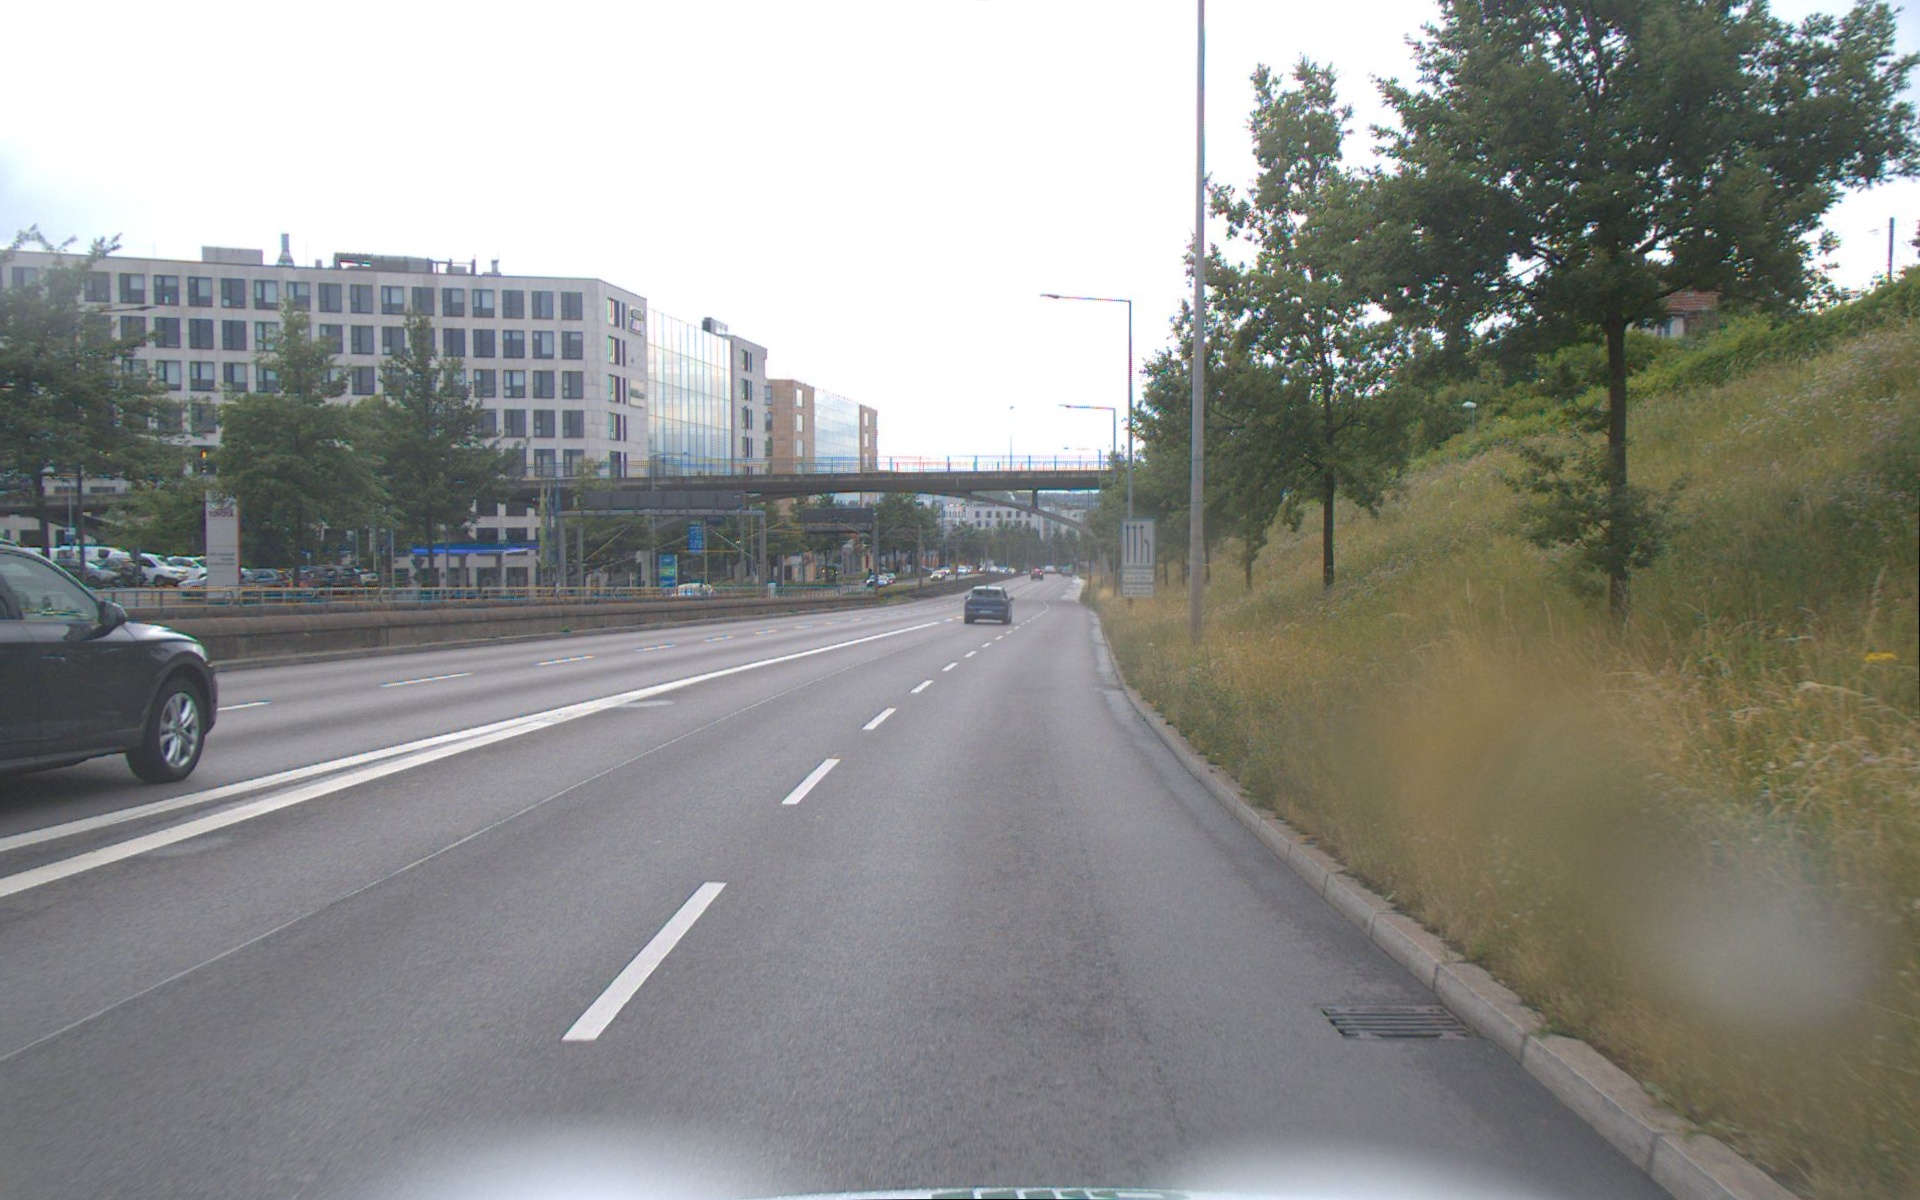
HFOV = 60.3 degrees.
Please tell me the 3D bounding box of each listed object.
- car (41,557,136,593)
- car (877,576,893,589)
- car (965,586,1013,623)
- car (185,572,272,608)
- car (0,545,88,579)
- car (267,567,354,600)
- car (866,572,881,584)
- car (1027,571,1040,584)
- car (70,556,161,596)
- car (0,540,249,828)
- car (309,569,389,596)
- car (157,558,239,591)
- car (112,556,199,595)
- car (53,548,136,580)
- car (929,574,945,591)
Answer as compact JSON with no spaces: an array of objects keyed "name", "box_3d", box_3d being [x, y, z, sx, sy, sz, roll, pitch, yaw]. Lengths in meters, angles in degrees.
[{"name":"car","box_3d":[-45.606,-1.330,86.593,3.904,1.679,2.001,2,3,2]},{"name":"car","box_3d":[-8.659,-2.029,191.837,1.486,1.445,3.480,0,1,4]},{"name":"car","box_3d":[1.181,0.175,65.627,1.712,1.445,3.480,0,0,5]},{"name":"car","box_3d":[-36.871,-0.506,83.344,3.937,1.679,1.984,2,1,-26]},{"name":"car","box_3d":[-50.414,-2.099,90.902,3.904,1.679,2.001,2,3,2]},{"name":"car","box_3d":[-35.722,-0.911,91.001,3.902,1.679,2.002,2,1,6]},{"name":"car","box_3d":[-10.619,-2.700,203.649,1.486,1.445,3.480,0,1,4]},{"name":"car","box_3d":[11.136,-3.458,250.169,1.824,1.779,4.002,2,3,1]},{"name":"car","box_3d":[-45.578,-1.288,89.281,3.902,2.049,2.002,1,0,9]},{"name":"car","box_3d":[-6.325,0.467,10.175,1.714,1.645,4.750,1,0,2]},{"name":"car","box_3d":[-35.405,-1.031,95.827,3.902,1.377,1.851,2,1,6]},{"name":"car","box_3d":[-44.695,-1.499,97.008,3.902,1.679,2.002,2,3,9]},{"name":"car","box_3d":[-44.537,-1.385,91.593,3.902,1.908,2.002,2,3,9]},{"name":"car","box_3d":[-50.813,-2.147,97.115,3.905,1.679,1.822,2,3,1]},{"name":"car","box_3d":[-3.217,-2.514,236.847,1.952,2.048,4.003,2,3,3]}]
